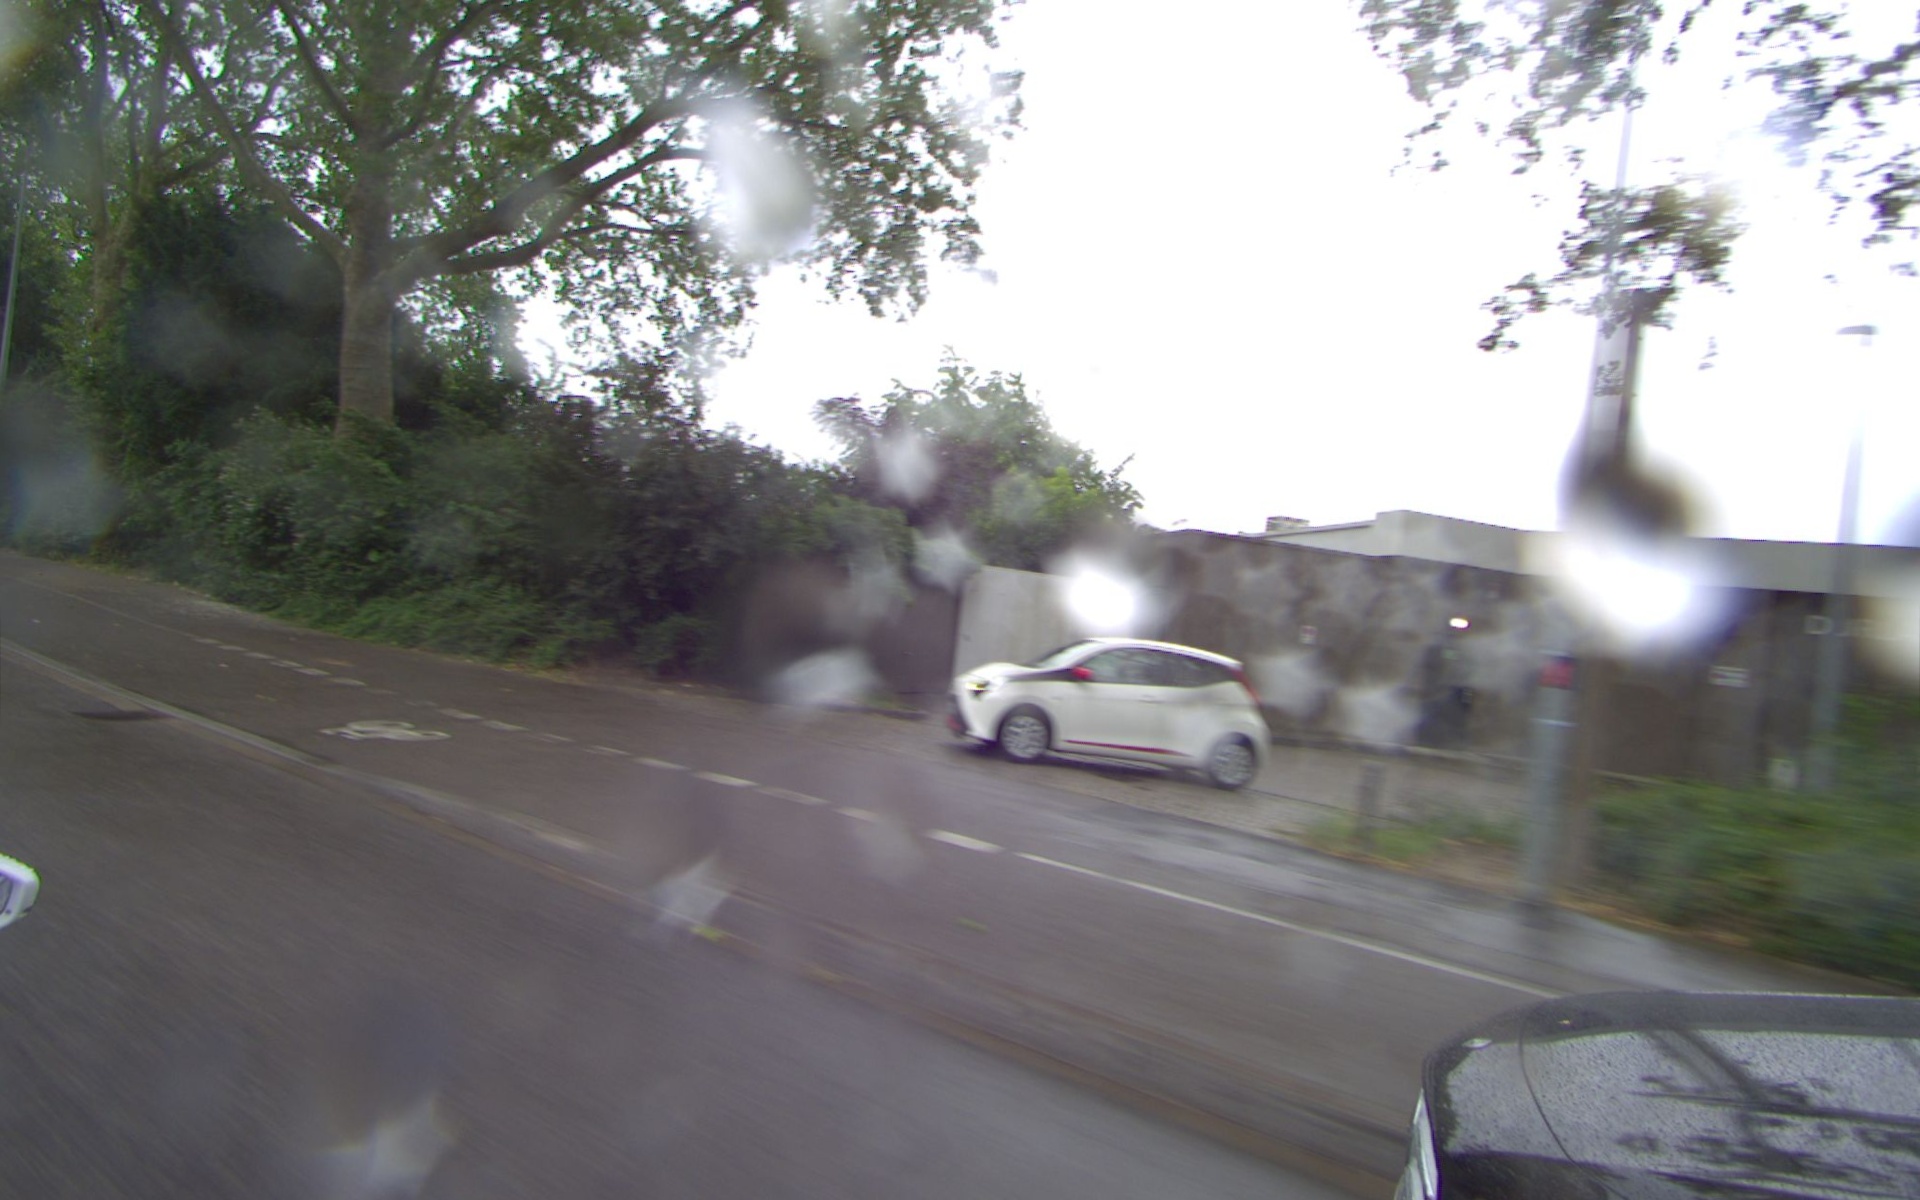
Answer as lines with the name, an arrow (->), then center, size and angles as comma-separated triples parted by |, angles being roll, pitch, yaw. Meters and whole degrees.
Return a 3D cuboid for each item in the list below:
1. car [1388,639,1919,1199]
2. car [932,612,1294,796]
car -> 2.813, 1.122, 0.963 | 4.345, 1.547, 1.822 | 6, -3, 29
car -> 1.603, 1.112, 11.112 | 3.497, 1.448, 1.607 | 8, -2, -9
